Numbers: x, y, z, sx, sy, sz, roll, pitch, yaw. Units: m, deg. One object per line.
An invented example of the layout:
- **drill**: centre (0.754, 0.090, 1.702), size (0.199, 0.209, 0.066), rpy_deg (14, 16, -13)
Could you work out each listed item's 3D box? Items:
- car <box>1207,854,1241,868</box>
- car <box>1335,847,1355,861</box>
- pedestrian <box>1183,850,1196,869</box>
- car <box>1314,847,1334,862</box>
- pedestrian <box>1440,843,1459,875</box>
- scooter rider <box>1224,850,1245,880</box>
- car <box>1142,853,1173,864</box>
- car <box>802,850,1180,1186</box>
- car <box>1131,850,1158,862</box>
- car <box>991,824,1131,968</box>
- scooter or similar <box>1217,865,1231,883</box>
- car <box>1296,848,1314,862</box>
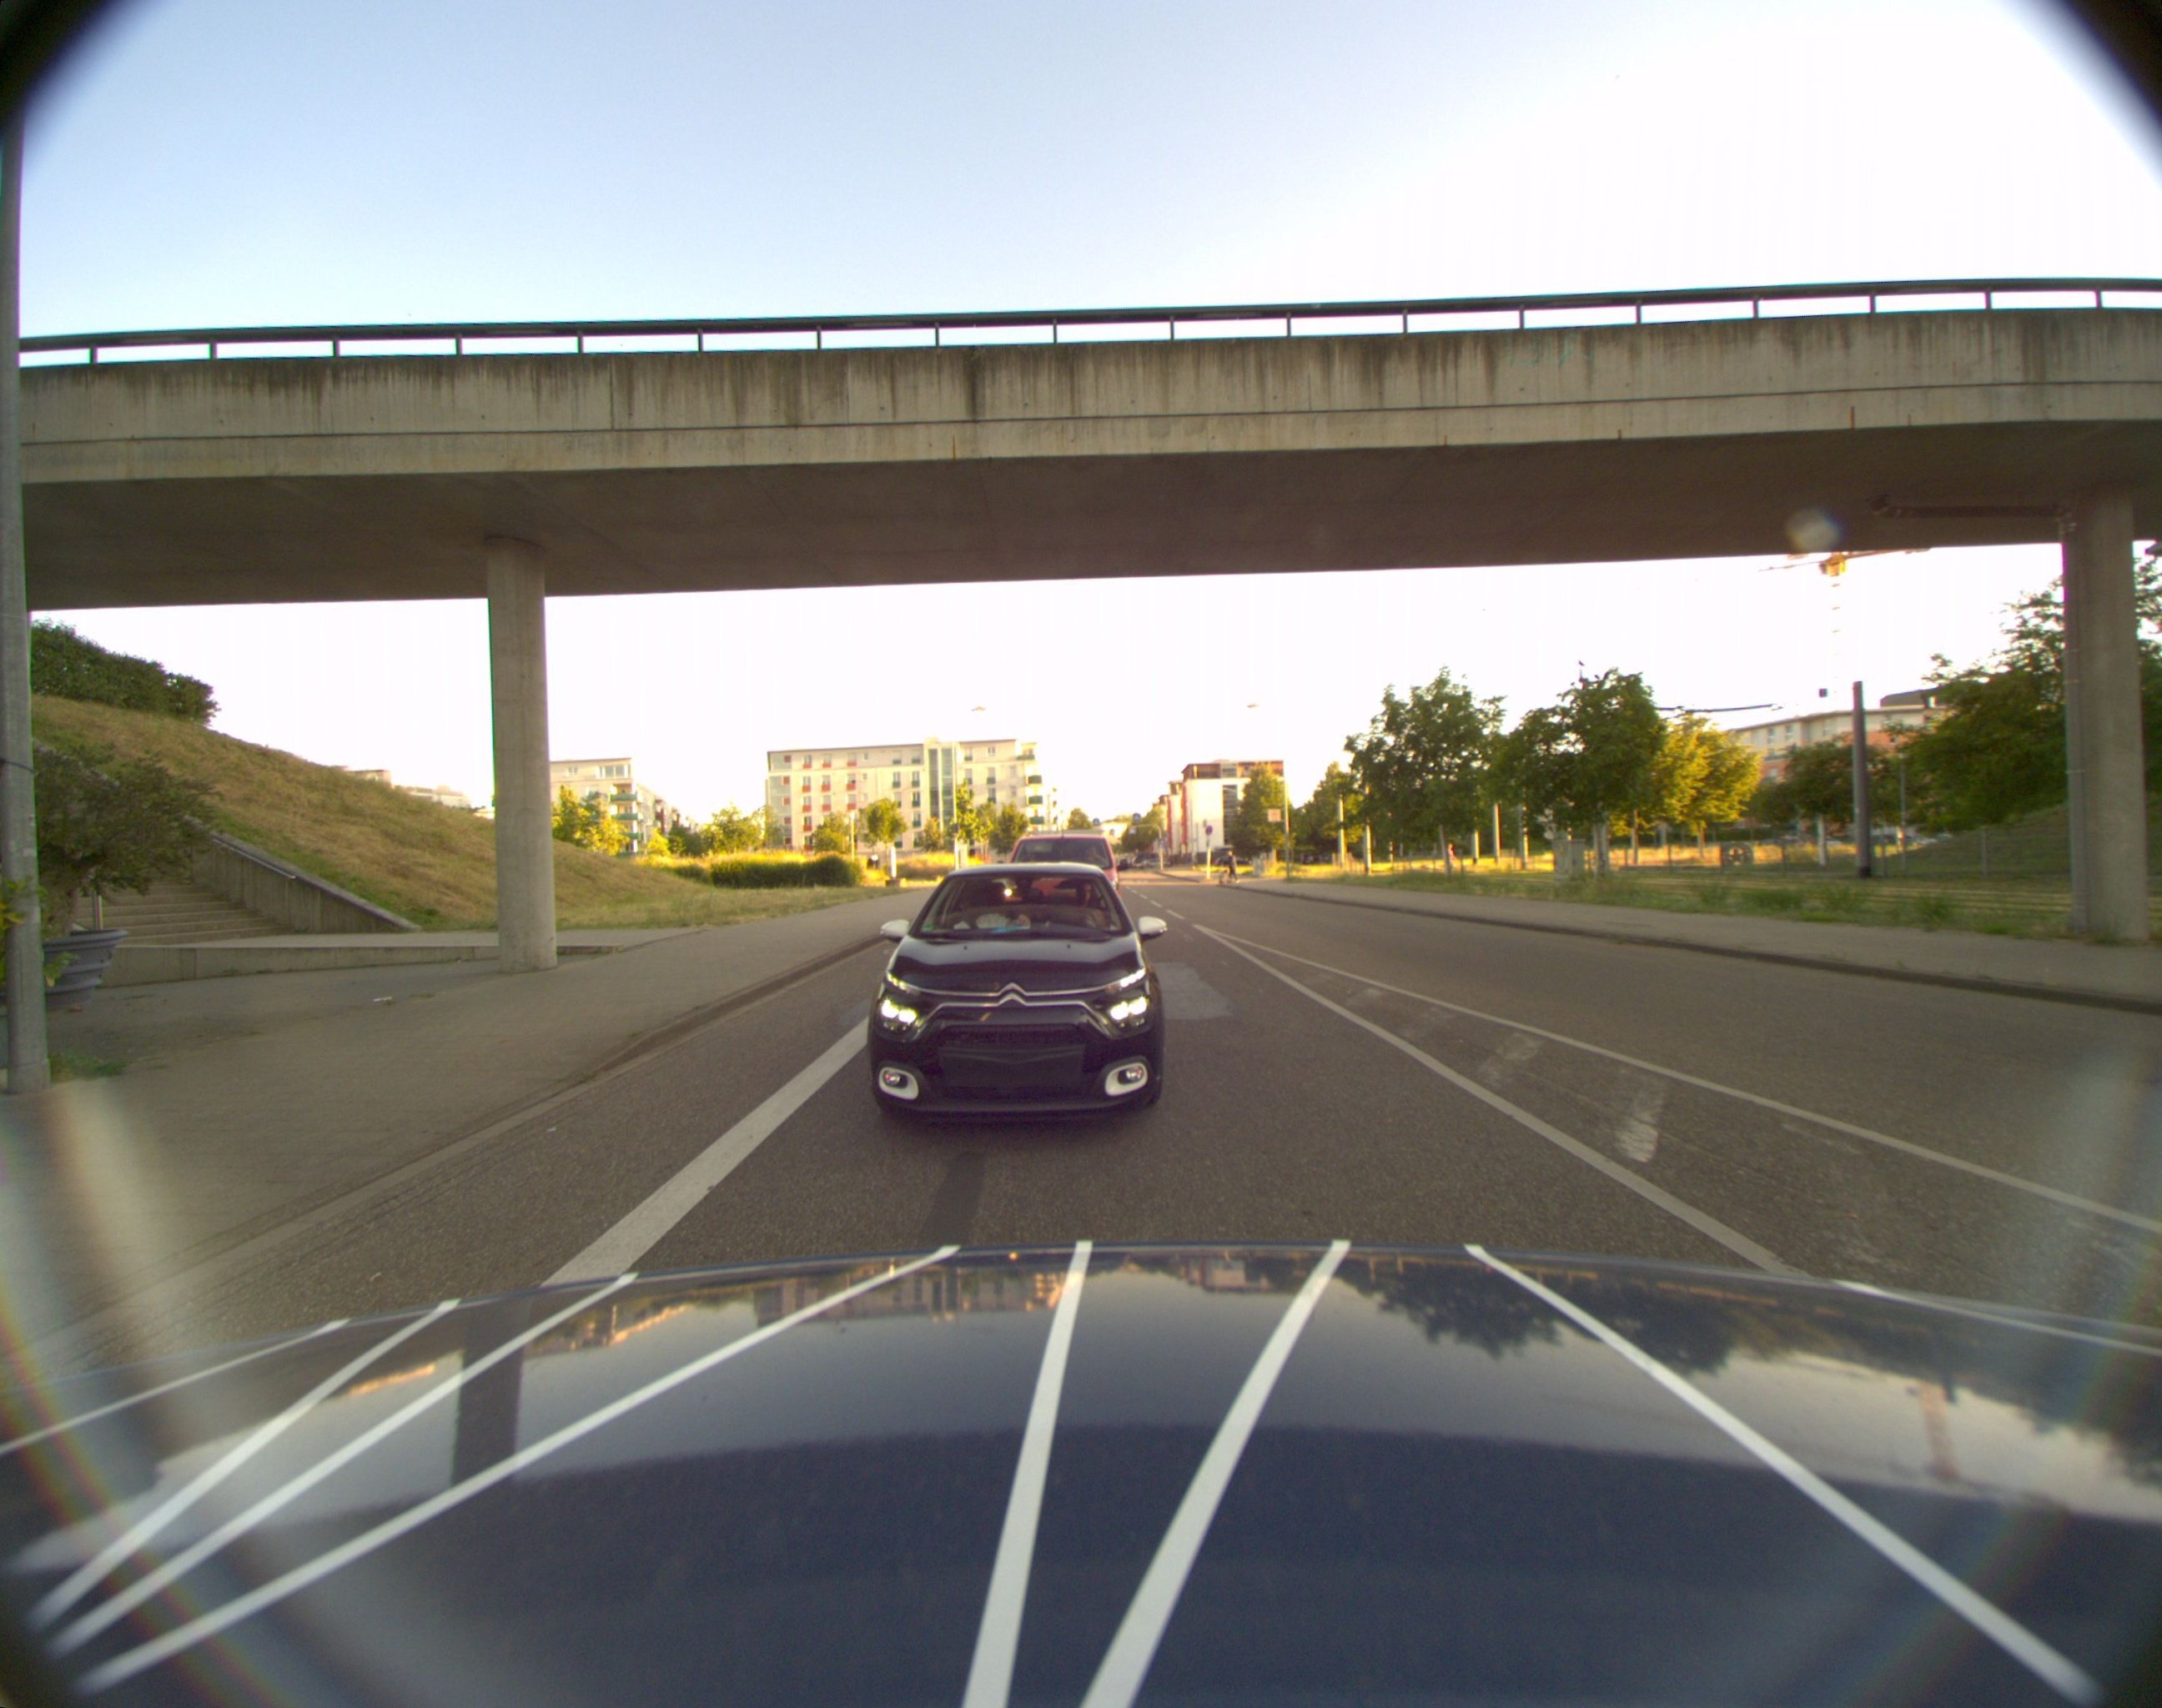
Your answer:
- **car**: centre (17.200, 0.815, 91.233), size (4.008, 1.554, 1.995), rpy_deg (-2, 0, -41)
- **car**: centre (33.495, -0.044, 96.576), size (1.869, 1.710, 3.848), rpy_deg (-2, 0, 12)
- **pedestrian**: centre (12.063, 0.639, 84.403), size (1.088, 2.002, 1.141), rpy_deg (-2, 1, 29)
- **car**: centre (30.984, 0.049, 96.850), size (1.869, 1.710, 3.848), rpy_deg (-2, 0, 9)
- **pedestrian**: centre (19.360, 0.261, 39.901), size (0.779, 1.602, 0.417), rpy_deg (-2, 0, 12)
- **scooter rider**: centre (8.094, 0.567, 40.000), size (0.898, 1.568, 0.711), rpy_deg (-2, 0, -3)
- **car**: centre (11.452, 0.663, 113.990), size (4.387, 1.550, 1.839), rpy_deg (-2, 1, 2)
- **car**: centre (-0.477, 0.793, 5.691), size (1.760, 1.543, 4.071), rpy_deg (-2, 0, -2)
- **car**: centre (12.011, 0.348, 144.167), size (4.745, 2.002, 1.999), rpy_deg (-2, 1, -2)
- **car**: centre (-0.307, 0.609, 13.357), size (1.931, 1.979, 4.822), rpy_deg (-3, 0, -1)
- **scooter or similar**: centre (7.507, 1.055, 39.983), size (0.553, 0.890, 0.722), rpy_deg (-1, 1, -3)
- **car**: centre (28.608, 0.143, 97.217), size (1.869, 1.710, 3.848), rpy_deg (-2, 0, 12)
